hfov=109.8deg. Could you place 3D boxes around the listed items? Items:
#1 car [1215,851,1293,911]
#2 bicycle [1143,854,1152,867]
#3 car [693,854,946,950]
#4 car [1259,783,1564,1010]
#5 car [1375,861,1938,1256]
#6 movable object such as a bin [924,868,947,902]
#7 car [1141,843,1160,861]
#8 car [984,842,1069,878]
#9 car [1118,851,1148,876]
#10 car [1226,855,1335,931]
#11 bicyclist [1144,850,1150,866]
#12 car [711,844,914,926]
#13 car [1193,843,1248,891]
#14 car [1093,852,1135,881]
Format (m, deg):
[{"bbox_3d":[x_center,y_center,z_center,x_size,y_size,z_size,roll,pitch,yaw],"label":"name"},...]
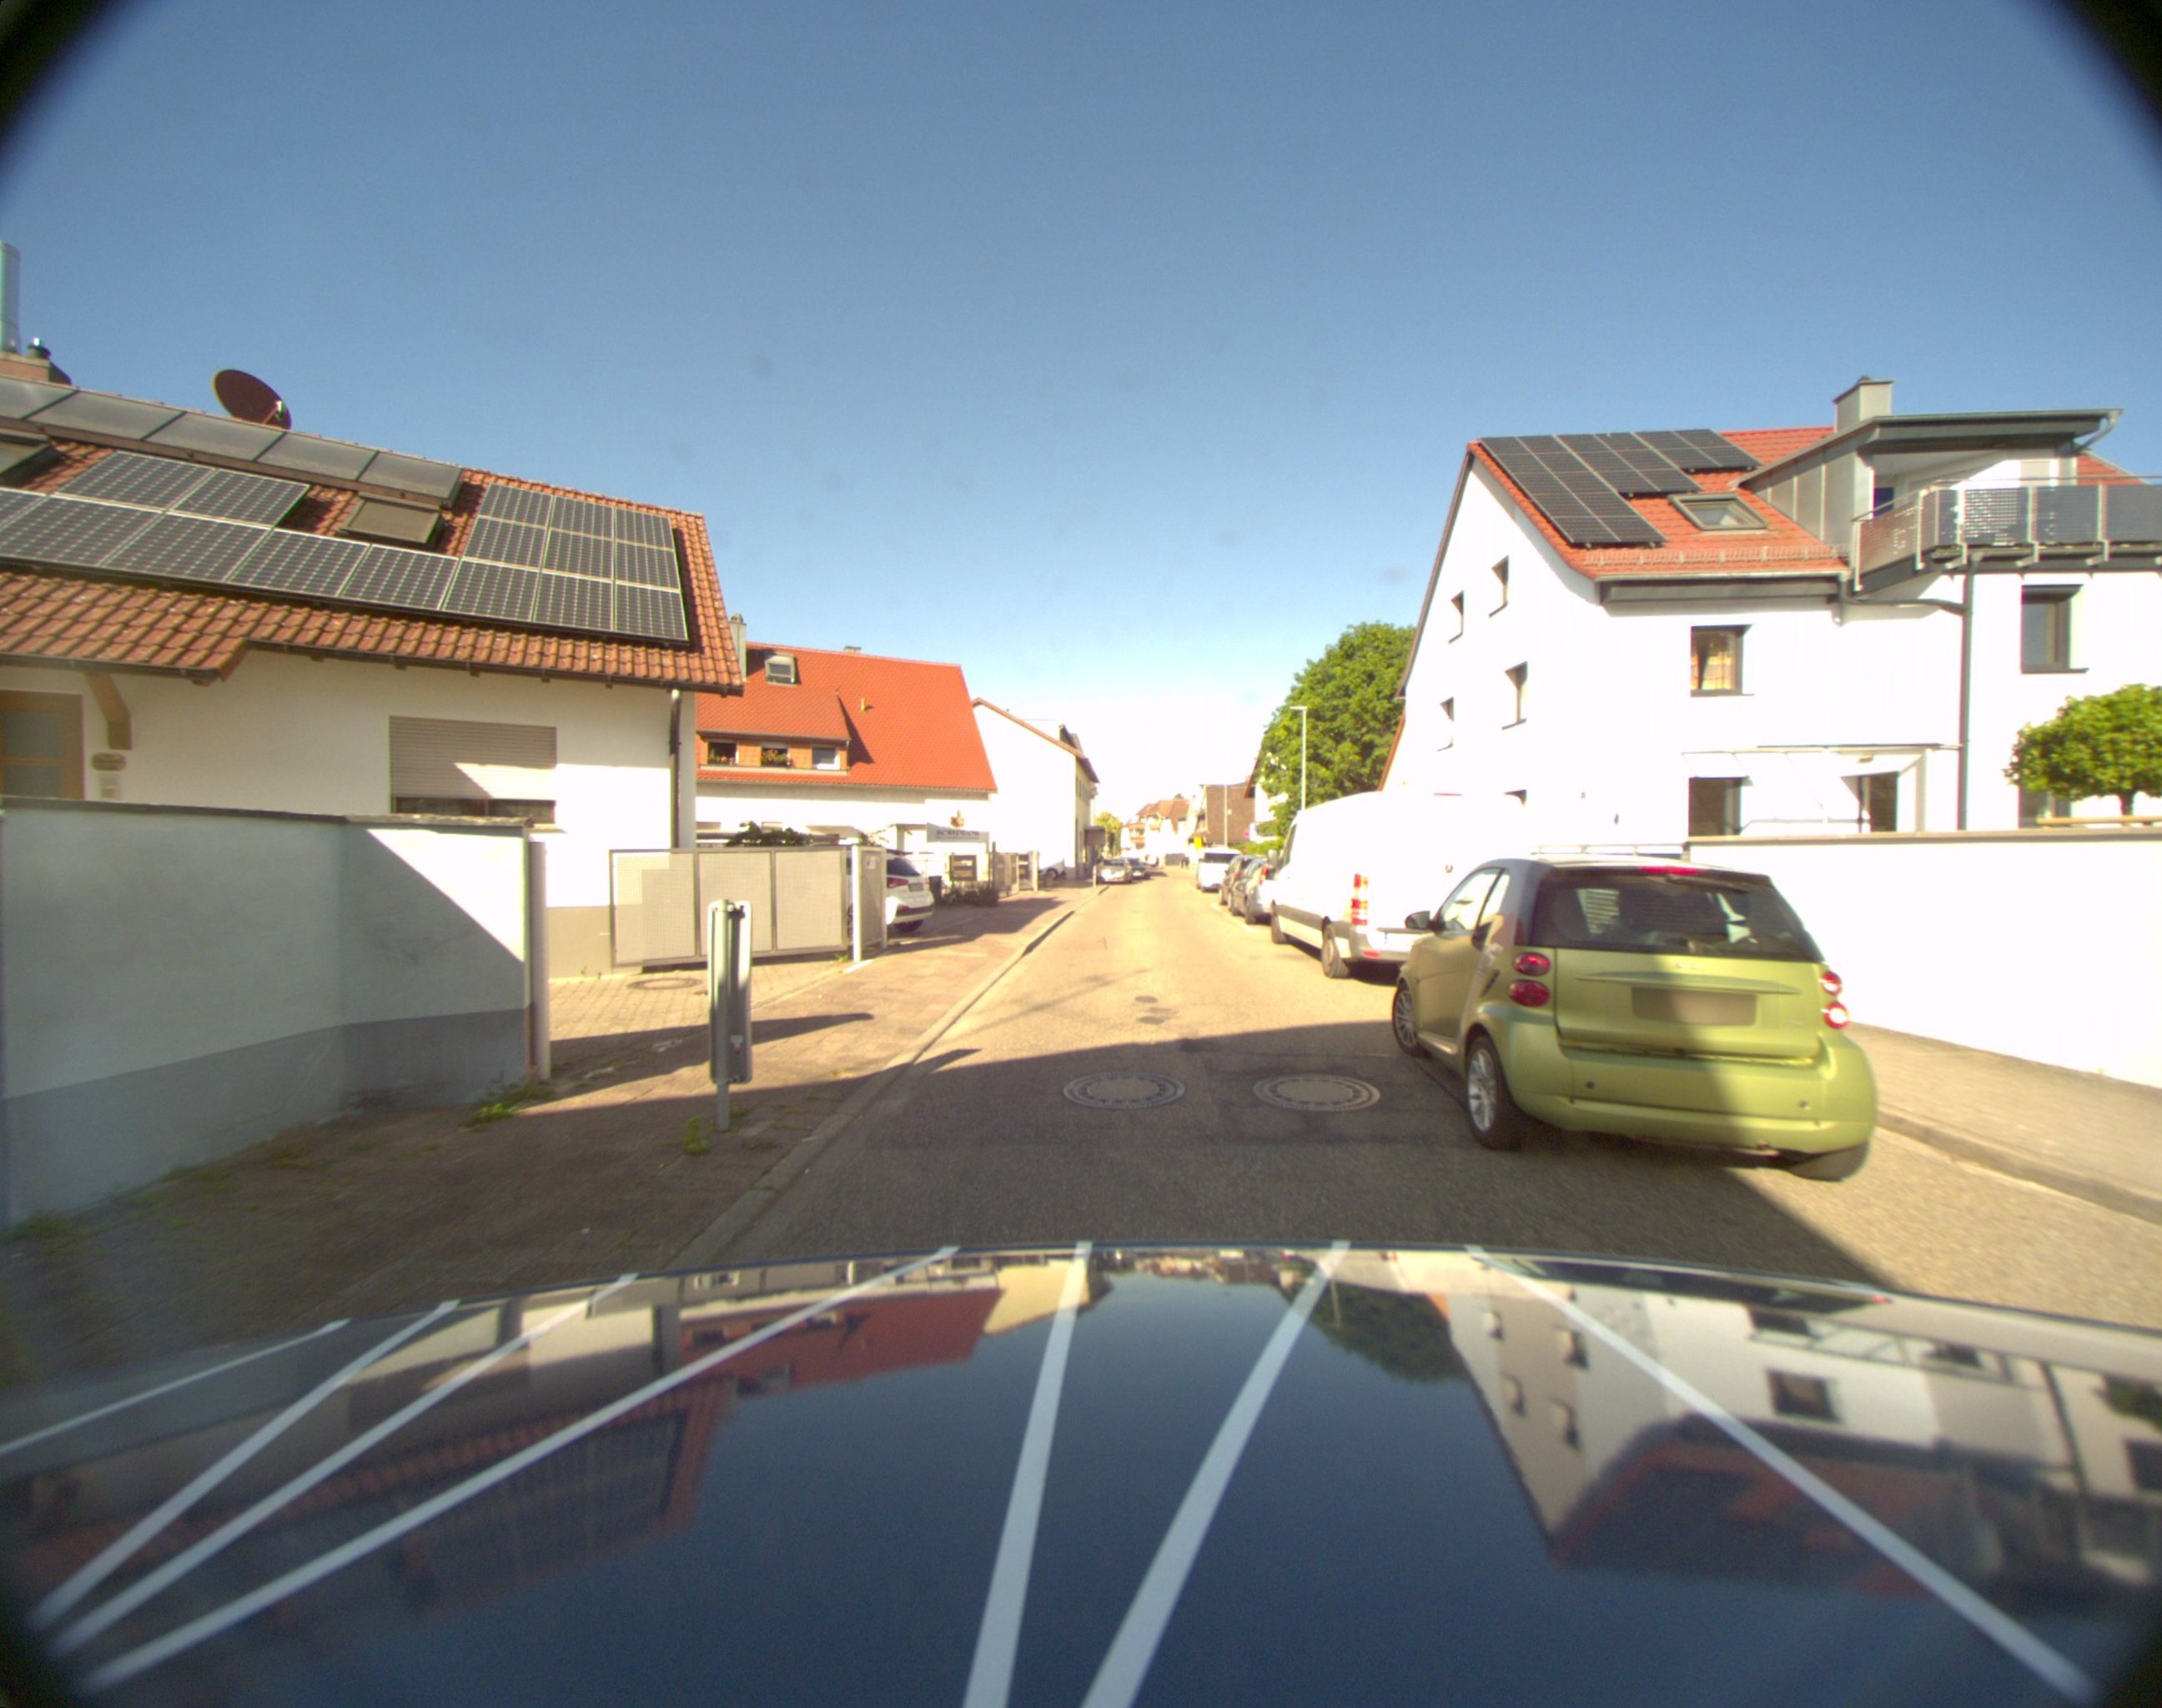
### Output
[{"bbox_3d":[4.997,0.719,22.458,1.718,1.589,3.926,0,1,5],"label":"car"},{"bbox_3d":[6.922,0.659,79.099,0.639,1.175,2.021,-6,1,1],"label":"bicycle"},{"bbox_3d":[-4.632,0.773,13.685,3.918,1.483,1.849,1,1,13],"label":"car"},{"bbox_3d":[4.227,0.433,11.154,2.201,2.376,6.066,1,0,5],"label":"car"},{"bbox_3d":[2.974,0.859,4.716,1.576,1.538,2.968,2,1,10],"label":"car"},{"bbox_3d":[-4.108,0.859,21.455,0.517,0.918,0.422,-3,2,-25],"label":"movable object such as a bin"},{"bbox_3d":[9.678,-0.326,106.296,2.258,2.456,5.515,0,1,0],"label":"car"},{"bbox_3d":[-3.168,0.342,44.256,4.776,1.875,1.907,2,1,-5],"label":"car"},{"bbox_3d":[3.420,0.585,49.485,1.812,1.467,4.845,-2,0,4],"label":"car"},{"bbox_3d":[4.516,0.808,17.793,1.715,1.495,4.236,1,0,5],"label":"car"},{"bbox_3d":[6.868,0.382,79.033,0.643,1.655,0.605,1,1,1],"label":"bicyclist"},{"bbox_3d":[-5.973,0.643,17.054,4.054,1.678,1.908,1,0,-22],"label":"car"},{"bbox_3d":[5.977,0.497,33.083,1.906,1.906,5.071,0,1,5],"label":"car"},{"bbox_3d":[1.881,0.648,42.294,1.814,1.467,4.662,0,1,9],"label":"car"}]
